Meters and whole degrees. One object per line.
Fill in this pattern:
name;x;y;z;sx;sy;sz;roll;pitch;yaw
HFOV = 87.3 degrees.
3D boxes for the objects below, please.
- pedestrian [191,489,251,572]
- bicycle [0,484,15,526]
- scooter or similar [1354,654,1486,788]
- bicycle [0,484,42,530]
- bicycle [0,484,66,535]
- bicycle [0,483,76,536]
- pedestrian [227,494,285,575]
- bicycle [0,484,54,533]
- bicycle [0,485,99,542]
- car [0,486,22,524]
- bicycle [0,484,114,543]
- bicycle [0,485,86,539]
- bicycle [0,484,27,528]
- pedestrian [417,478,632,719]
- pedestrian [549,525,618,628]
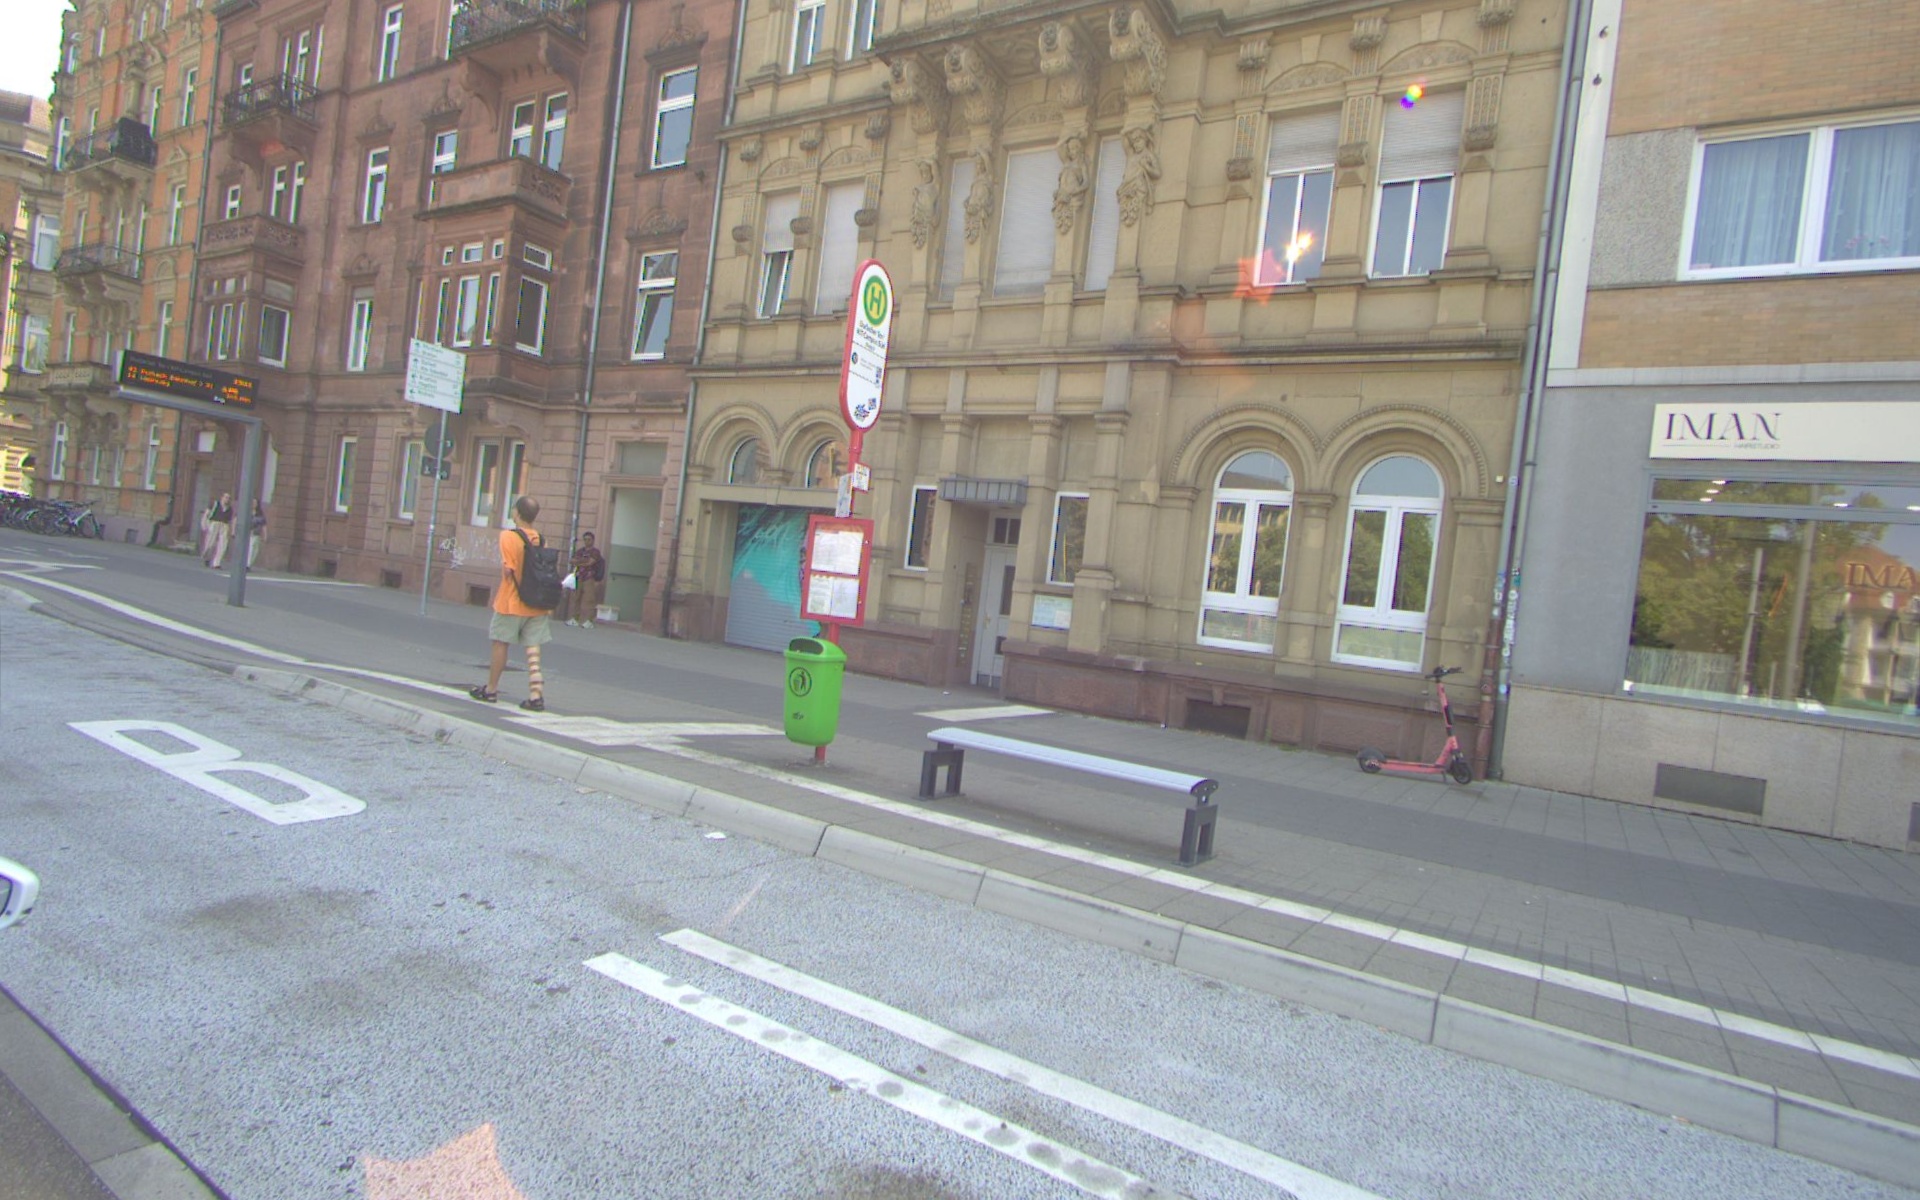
pedestrian;-17.212;-1.614;23.433;0.833;1.798;0.715;7;1;31
bicycle;-33.953;-3.413;33.781;0.932;1.390;3.007;7;0;31
scooter or similar;4.891;1.261;10.719;1.122;1.228;0.476;7;1;27
bicycle;-31.957;-3.168;32.623;0.932;1.390;3.007;7;0;31
bicycle;-30.198;-2.947;31.554;0.932;1.390;3.007;7;0;31
bicycle;-29.413;-2.872;31.063;0.857;1.388;2.997;7;0;31
pedestrian;-16.837;-1.571;24.066;0.856;1.800;0.715;7;1;30
bicycle;-31.099;-3.059;32.132;0.932;1.390;3.007;7;0;31
bicycle;-27.868;-2.629;30.112;0.857;1.388;2.997;7;0;31
car;-41.992;-4.234;41.867;1.652;1.539;3.942;7;0;24
bicycle;-27.063;-2.576;29.721;0.857;1.388;2.997;7;0;31
bicycle;-28.644;-2.737;30.552;0.857;1.388;2.997;7;0;31
bicycle;-33.070;-3.290;33.275;0.932;1.390;3.007;7;0;31
pedestrian;-3.531;-0.010;8.150;1.221;1.762;0.964;7;0;38
pedestrian;-7.027;-0.424;18.821;0.729;1.800;0.870;7;1;4
